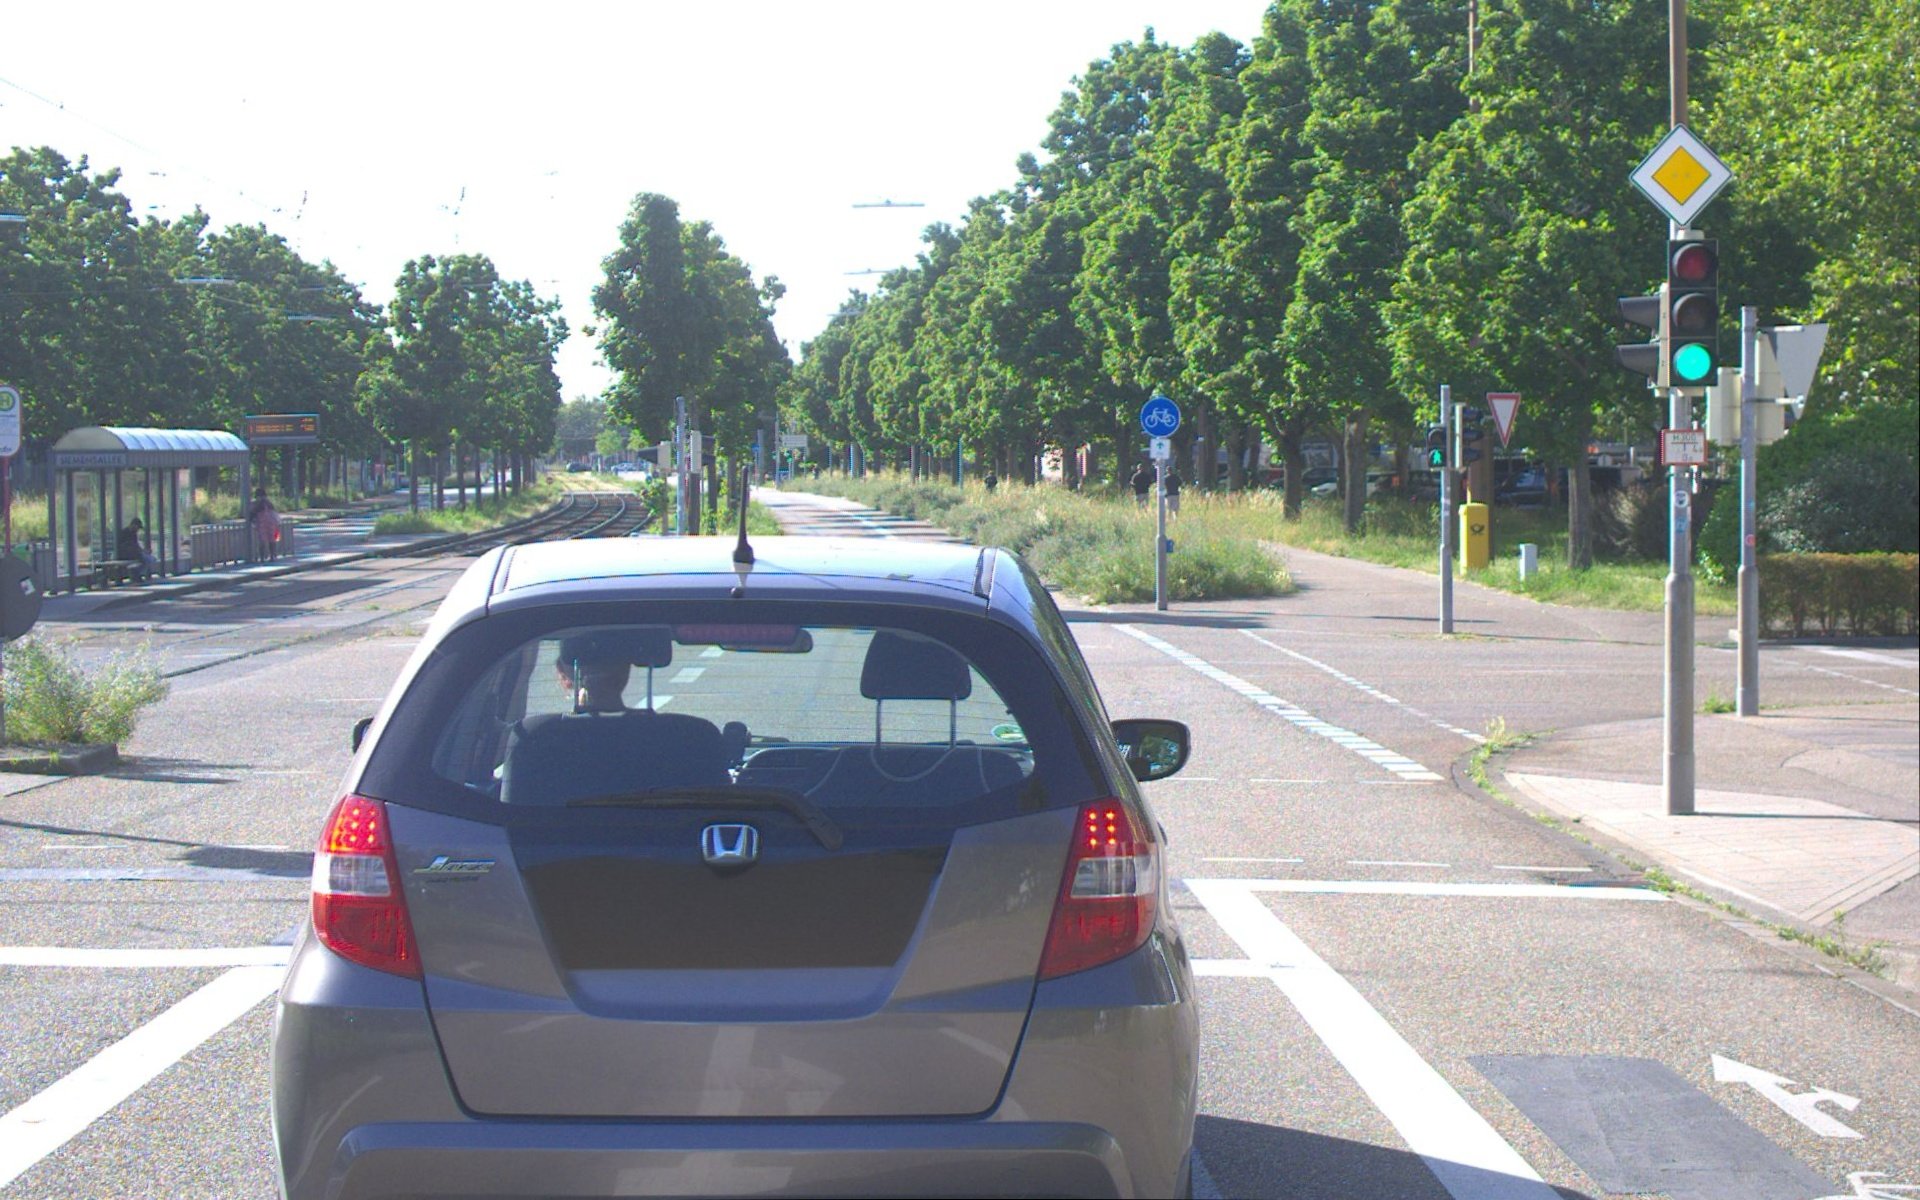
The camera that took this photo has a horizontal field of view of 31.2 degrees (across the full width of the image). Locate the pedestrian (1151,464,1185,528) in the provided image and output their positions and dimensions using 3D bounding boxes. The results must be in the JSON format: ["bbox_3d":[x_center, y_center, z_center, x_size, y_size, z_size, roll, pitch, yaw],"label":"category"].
[{"bbox_3d":[6.216,-3.119,102.863,0.882,1.877,0.875,-1,2,-4],"label":"pedestrian"}]

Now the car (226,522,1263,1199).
[{"bbox_3d":[-0.378,0.606,7.525,1.701,1.518,3.710,0,1,-1],"label":"car"}]

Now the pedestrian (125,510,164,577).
[{"bbox_3d":[-15.549,-1.081,65.535,0.563,1.252,0.581,-3,1,-1],"label":"pedestrian"}]

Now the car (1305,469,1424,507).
[{"bbox_3d":[16.987,-4.707,144.520,4.630,1.550,2.001,-1,2,-6],"label":"car"}]

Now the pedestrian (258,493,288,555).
[{"bbox_3d":[-16.001,-1.775,80.088,0.544,1.442,0.559,-1,1,-1],"label":"pedestrian"}]

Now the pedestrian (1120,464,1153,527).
[{"bbox_3d":[5.278,-3.132,102.847,0.882,1.877,0.875,-1,2,-4],"label":"pedestrian"}]
